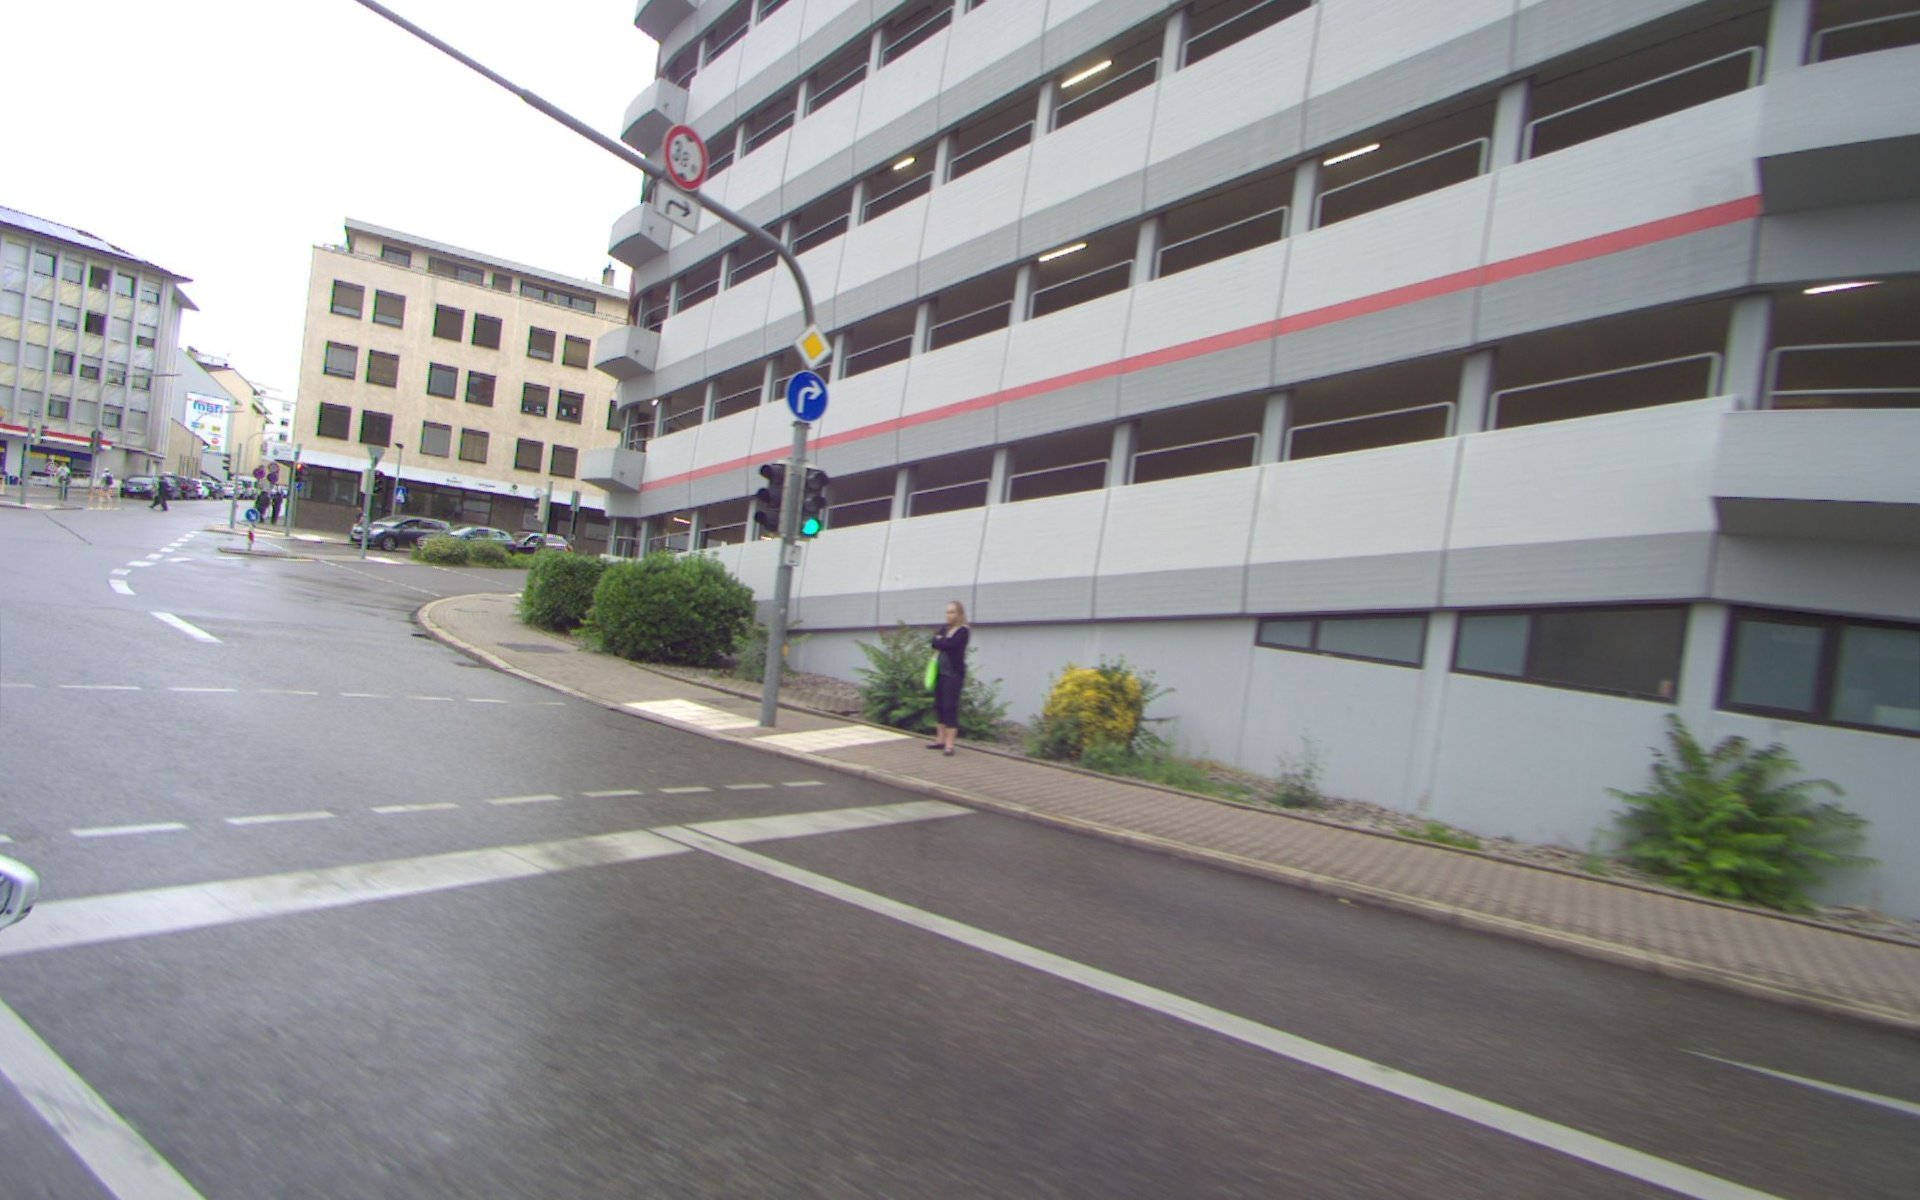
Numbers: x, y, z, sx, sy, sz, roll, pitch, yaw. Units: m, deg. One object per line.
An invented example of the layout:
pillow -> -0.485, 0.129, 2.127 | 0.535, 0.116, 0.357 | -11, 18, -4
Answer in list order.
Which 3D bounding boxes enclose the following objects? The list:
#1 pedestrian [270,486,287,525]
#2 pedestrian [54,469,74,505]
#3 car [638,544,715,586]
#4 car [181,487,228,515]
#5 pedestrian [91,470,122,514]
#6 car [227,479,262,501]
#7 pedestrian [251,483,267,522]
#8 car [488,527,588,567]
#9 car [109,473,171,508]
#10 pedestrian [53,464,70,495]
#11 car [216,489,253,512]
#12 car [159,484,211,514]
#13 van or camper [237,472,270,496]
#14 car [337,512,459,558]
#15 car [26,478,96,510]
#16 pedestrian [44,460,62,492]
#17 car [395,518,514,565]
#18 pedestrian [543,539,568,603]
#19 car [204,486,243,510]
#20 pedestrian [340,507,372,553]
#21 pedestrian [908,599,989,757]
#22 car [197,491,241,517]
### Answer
pedestrian -> -36.987, -5.132, 54.615 | 0.439, 2.037, 0.397 | 5, -2, 33
pedestrian -> -37.079, -4.661, 41.621 | 0.439, 1.416, 0.397 | 5, -2, 33
car -> -16.459, -2.010, 58.449 | 4.081, 1.789, 1.895 | 7, -2, -17
car -> -58.848, -7.680, 78.411 | 1.974, 1.727, 3.976 | 6, 0, -24
pedestrian -> -45.248, -5.740, 53.338 | 0.931, 2.155, 0.856 | 7, 1, 26
car -> -73.161, -11.181, 102.944 | 1.974, 1.735, 4.359 | 6, 0, -24
pedestrian -> -37.572, -5.237, 53.919 | 0.439, 2.037, 0.397 | 5, -2, 33
car -> -21.210, -2.651, 50.697 | 1.831, 1.458, 4.180 | 7, 0, 38
car -> -52.164, -6.948, 64.105 | 1.974, 1.727, 3.976 | 6, 0, -24
pedestrian -> -51.182, -6.873, 57.282 | 0.479, 1.659, 0.436 | 7, -2, -30
car -> -69.712, -9.572, 96.761 | 1.974, 1.727, 3.976 | 6, 0, -24
car -> -56.341, -7.322, 73.207 | 1.974, 1.727, 3.976 | 6, 0, -24
van or camper -> -76.427, -12.531, 108.935 | 1.974, 2.004, 4.486 | 6, 0, -24
car -> -24.547, -2.823, 44.053 | 1.831, 1.458, 4.180 | 7, 0, 38
car -> -59.945, -7.030, 67.142 | 1.972, 1.414, 3.986 | 7, -3, -19
pedestrian -> -53.033, -7.243, 58.844 | 0.522, 1.749, 0.683 | 6, 1, -31
car -> -21.894, -2.526, 43.713 | 1.831, 1.458, 4.180 | 7, 0, 38
pedestrian -> -18.780, -1.345, 46.736 | 0.701, 2.868, 0.653 | 6, 1, -8
car -> -67.530, -9.299, 92.341 | 1.974, 1.727, 3.976 | 6, 0, -24
pedestrian -> -28.767, -3.340, 47.886 | 0.718, 2.037, 0.880 | 5, -2, 33
pedestrian -> -0.140, 0.893, 11.587 | 0.638, 1.730, 0.469 | 6, -1, -22
car -> -61.216, -7.905, 83.139 | 1.974, 1.727, 3.976 | 6, 0, -24
